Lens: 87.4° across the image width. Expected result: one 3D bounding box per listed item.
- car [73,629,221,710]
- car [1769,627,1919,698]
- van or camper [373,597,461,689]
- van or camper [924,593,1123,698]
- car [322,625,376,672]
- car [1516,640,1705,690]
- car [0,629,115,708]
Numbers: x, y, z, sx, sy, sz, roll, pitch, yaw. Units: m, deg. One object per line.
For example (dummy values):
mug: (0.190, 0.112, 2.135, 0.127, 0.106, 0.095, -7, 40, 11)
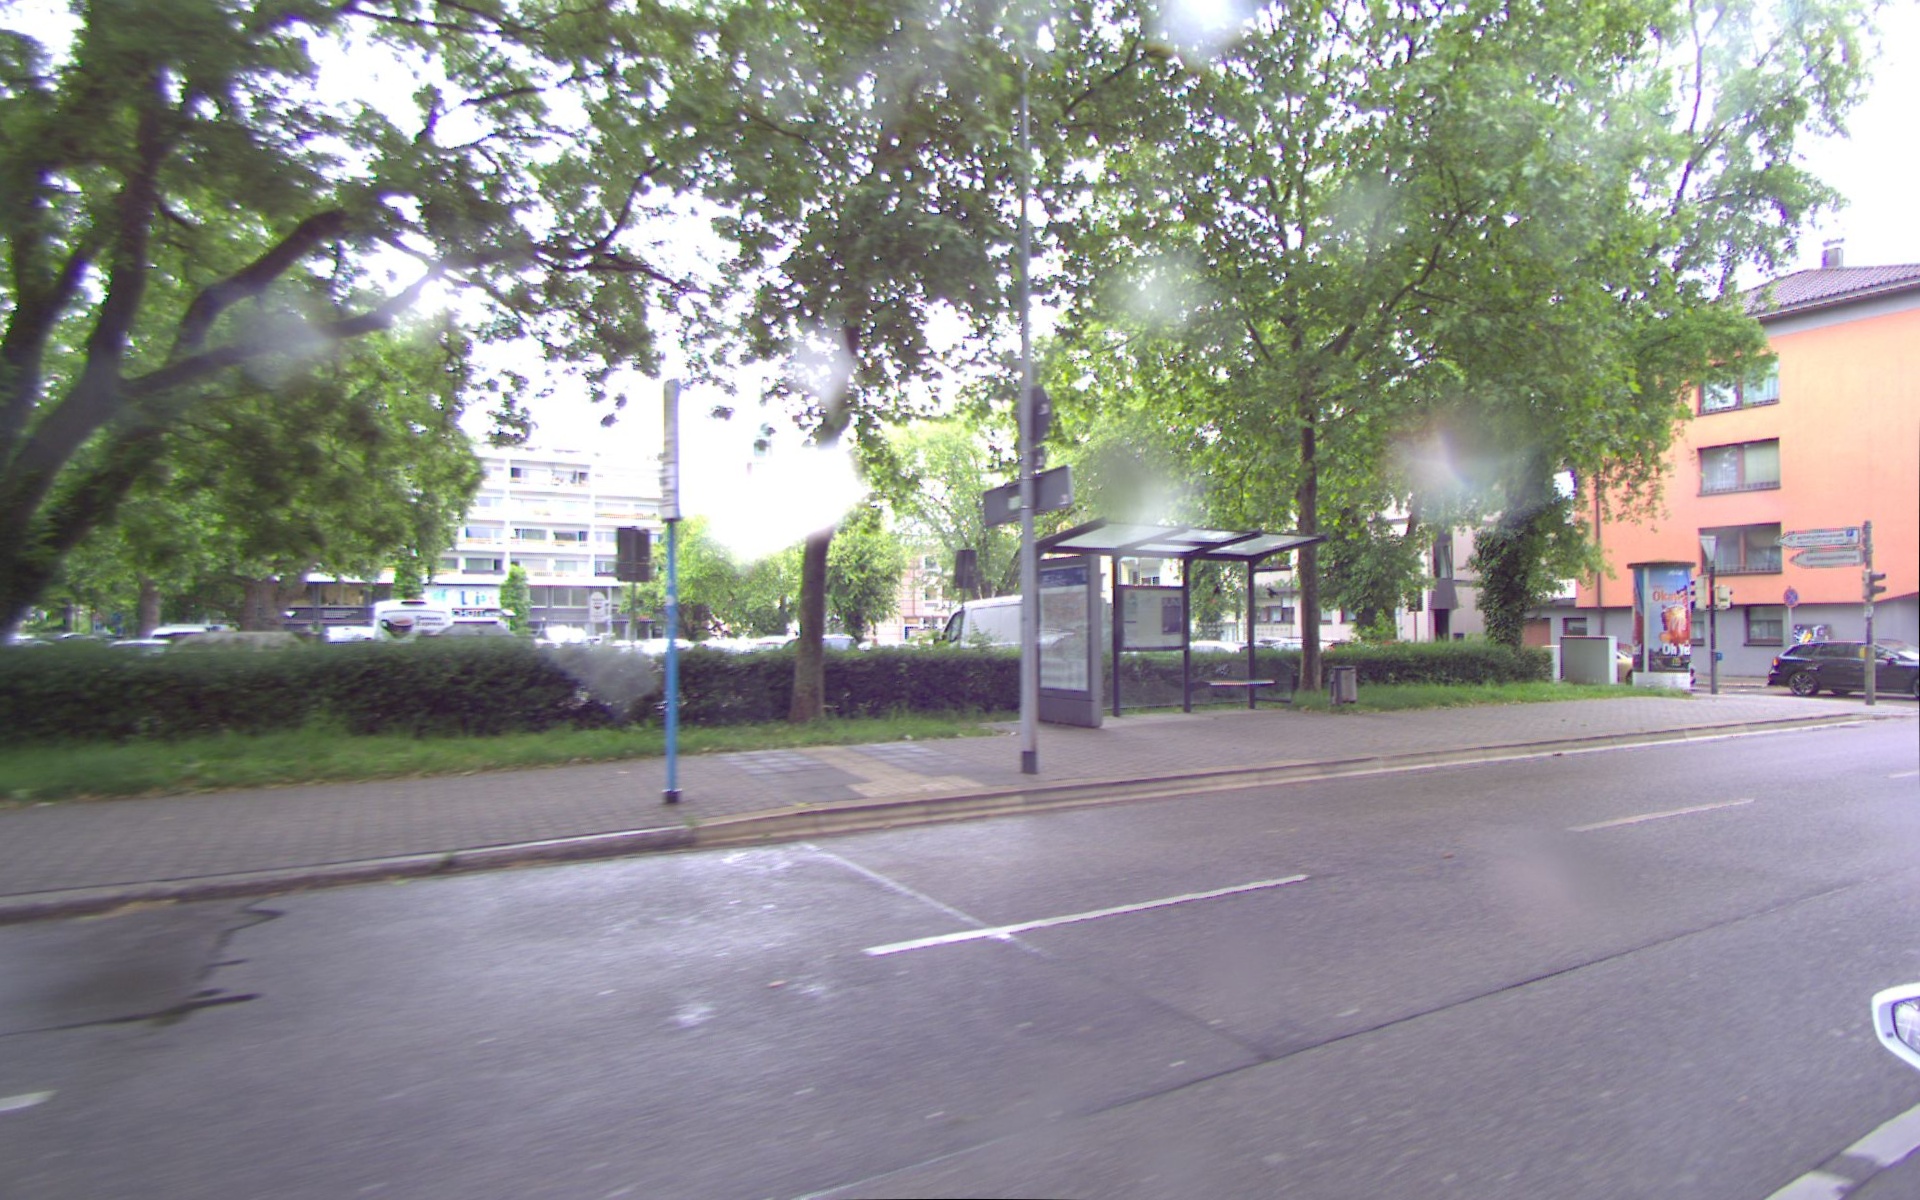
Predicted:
car: (-18.211, 1.494, 22.708, 1.840, 1.647, 3.971, 1, -2, -28)
car: (22.840, 1.513, 24.778, 1.825, 1.646, 4.117, 0, -3, -22)
van or camper: (-15.822, 1.225, 29.350, 2.073, 2.463, 4.310, 1, -2, -28)
van or camper: (1.209, 0.923, 21.355, 1.977, 1.975, 4.572, 1, -2, -31)
car: (-25.312, 2.013, 41.691, 1.782, 1.848, 3.969, 1, -2, -30)
car: (20.003, 1.962, 31.106, 1.809, 1.422, 4.617, 1, -3, -28)
car: (-20.887, 1.486, 22.760, 1.840, 1.647, 4.023, 1, -2, -28)
